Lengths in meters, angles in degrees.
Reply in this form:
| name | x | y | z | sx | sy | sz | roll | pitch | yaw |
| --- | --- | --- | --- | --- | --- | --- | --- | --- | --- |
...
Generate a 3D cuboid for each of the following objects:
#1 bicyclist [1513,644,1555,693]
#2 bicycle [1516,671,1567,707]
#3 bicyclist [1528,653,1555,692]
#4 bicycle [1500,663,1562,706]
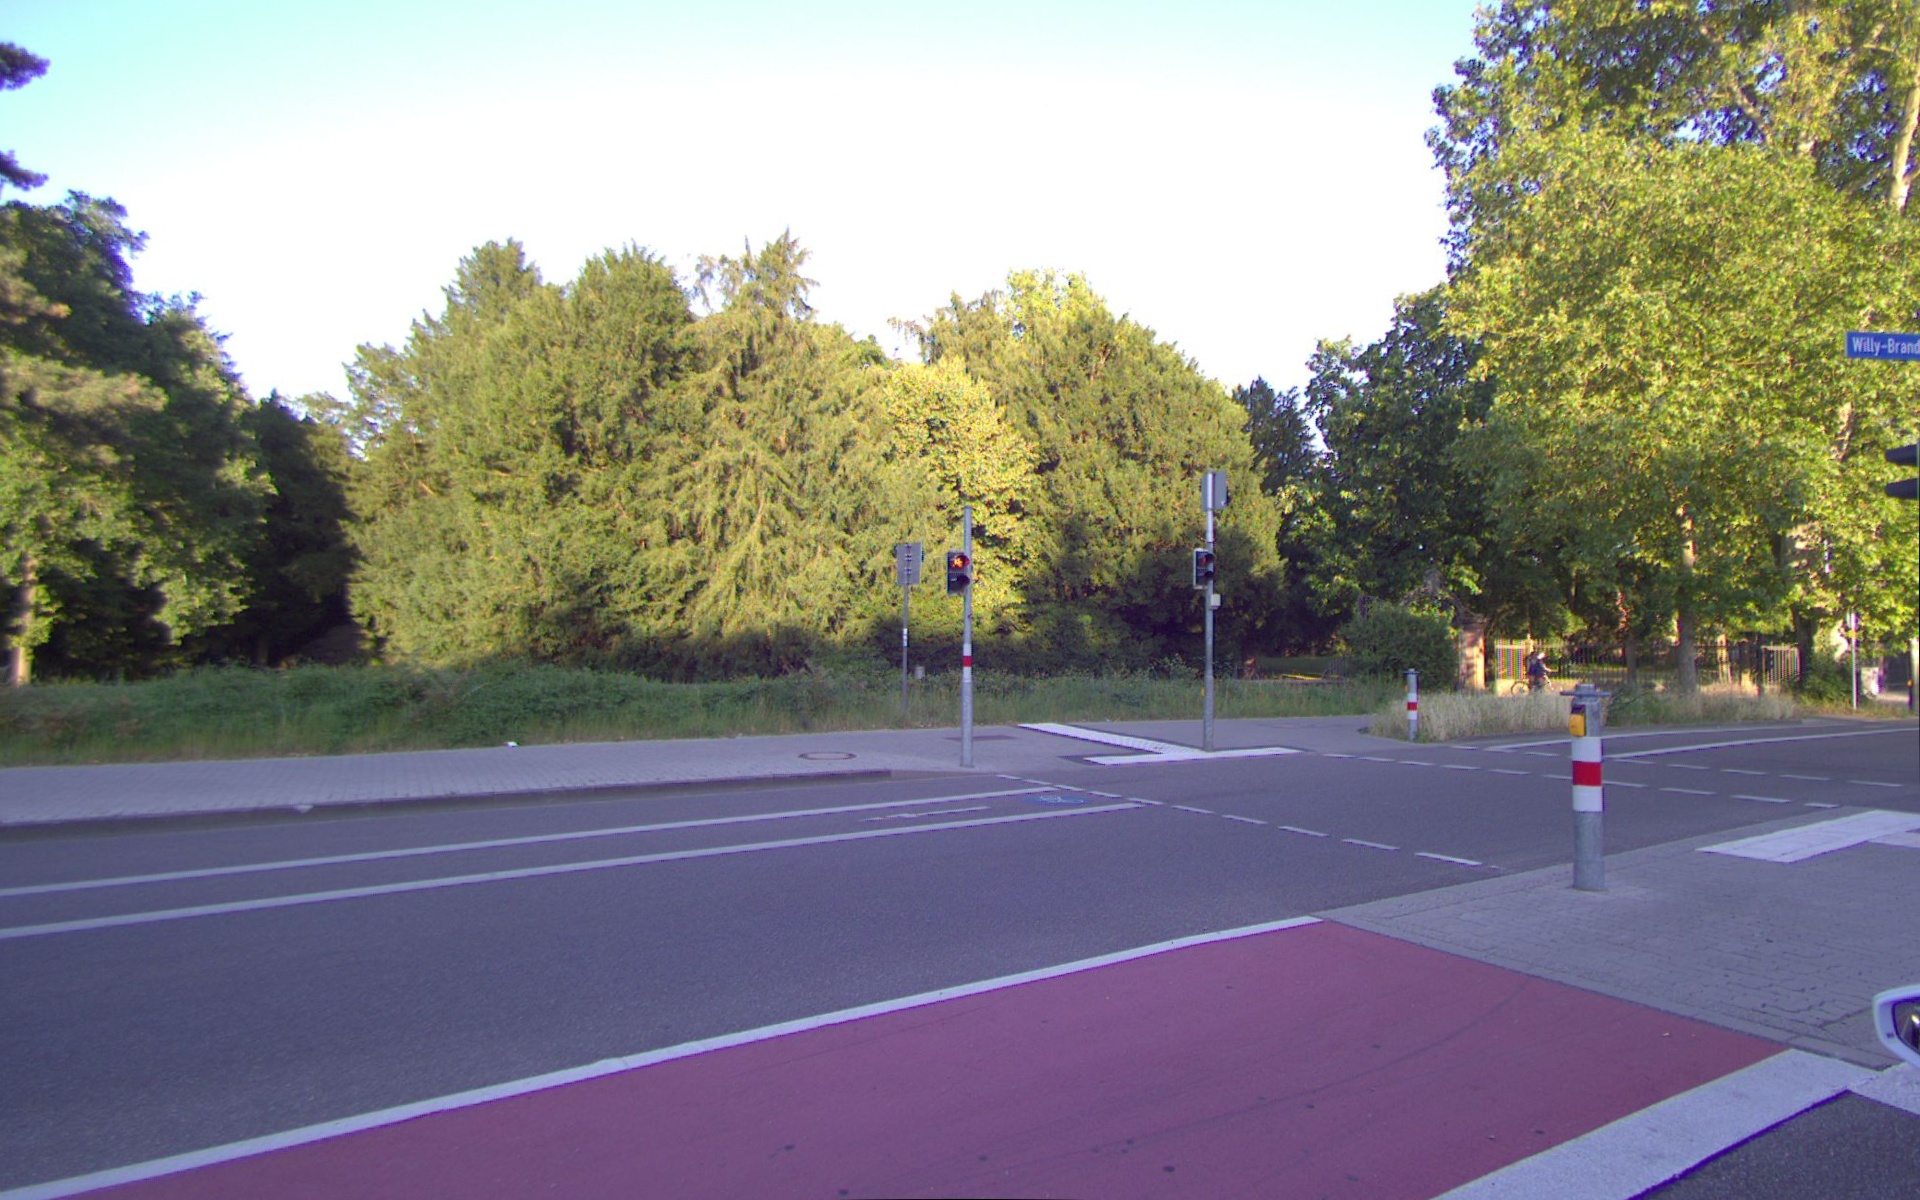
| name | x | y | z | sx | sy | sz | roll | pitch | yaw |
| --- | --- | --- | --- | --- | --- | --- | --- | --- | --- |
| bicyclist | 17.614 | 2.091 | 30.815 | 0.882 | 1.445 | 0.785 | 2 | -3 | -30 |
| bicycle | 21.369 | 3.245 | 36.916 | 1.605 | 1.245 | 0.571 | -1 | -3 | 35 |
| bicyclist | 21.387 | 2.655 | 36.958 | 0.825 | 1.379 | 0.571 | -1 | -3 | 34 |
| bicycle | 17.482 | 2.572 | 30.726 | 1.957 | 1.273 | 0.785 | 2 | -3 | -31 |
